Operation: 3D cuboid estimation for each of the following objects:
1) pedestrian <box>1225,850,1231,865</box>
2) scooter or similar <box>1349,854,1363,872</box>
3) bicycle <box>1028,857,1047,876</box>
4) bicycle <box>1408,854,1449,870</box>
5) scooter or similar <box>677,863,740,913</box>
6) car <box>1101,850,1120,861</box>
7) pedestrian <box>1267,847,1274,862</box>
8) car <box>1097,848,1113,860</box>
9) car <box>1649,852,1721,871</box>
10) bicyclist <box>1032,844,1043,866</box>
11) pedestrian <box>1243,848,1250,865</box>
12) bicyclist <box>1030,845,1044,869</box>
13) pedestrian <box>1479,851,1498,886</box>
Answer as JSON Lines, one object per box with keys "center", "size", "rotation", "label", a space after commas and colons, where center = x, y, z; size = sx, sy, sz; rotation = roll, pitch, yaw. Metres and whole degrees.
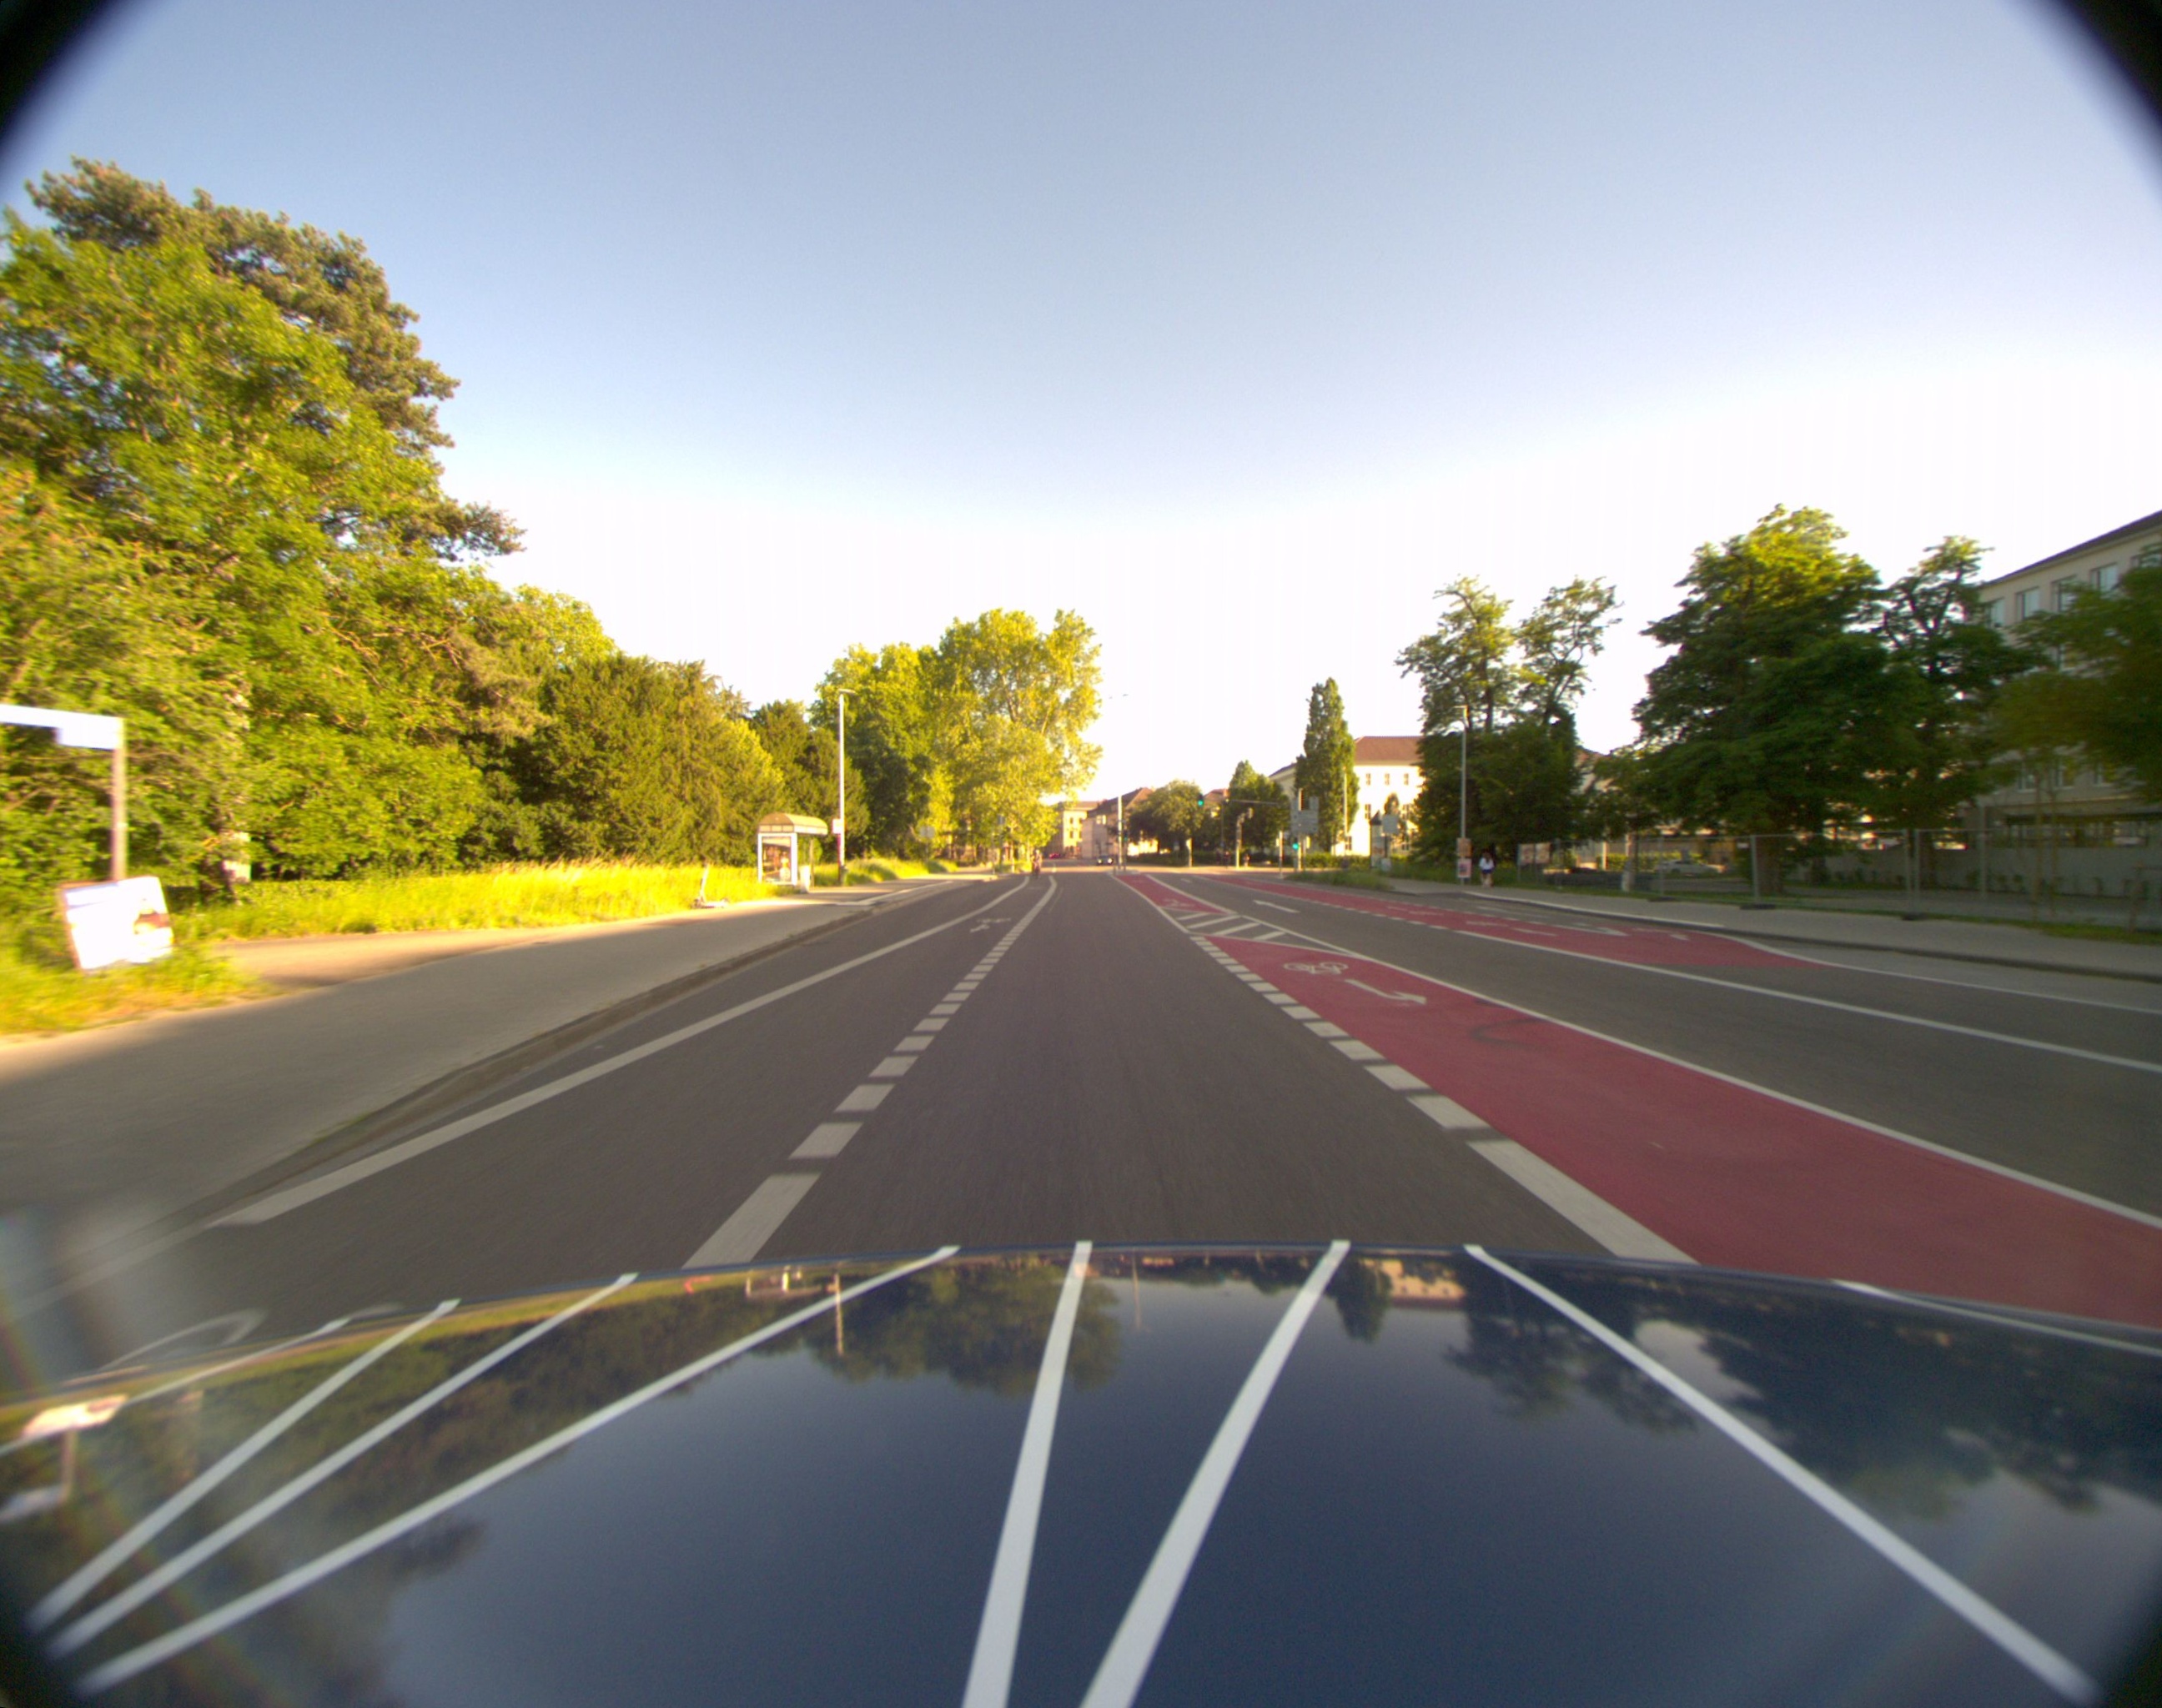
{"center": [16.446, 0.392, 84.967], "size": [0.691, 1.672, 0.681], "rotation": [0, 1, 7], "label": "pedestrian"}
{"center": [19.621, 0.650, 54.213], "size": [0.693, 1.286, 1.499], "rotation": [1, 1, 28], "label": "scooter or similar"}
{"center": [-2.675, 0.770, 46.543], "size": [0.694, 1.089, 2.137], "rotation": [0, 1, 9], "label": "bicycle"}
{"center": [25.760, 0.603, 56.357], "size": [2.576, 1.129, 0.980], "rotation": [0, 1, 3], "label": "bicycle"}
{"center": [-9.782, 0.875, 19.984], "size": [0.722, 1.240, 1.330], "rotation": [0, 1, 22], "label": "scooter or similar"}
{"center": [4.972, 0.264, 128.704], "size": [1.718, 1.413, 4.545], "rotation": [7, 1, -16], "label": "car"}
{"center": [22.501, 0.063, 90.070], "size": [0.691, 1.805, 0.681], "rotation": [0, 1, 7], "label": "pedestrian"}
{"center": [2.988, -0.045, 95.732], "size": [1.722, 1.409, 4.525], "rotation": [0, 0, -2], "label": "car"}
{"center": [50.663, 0.636, 63.776], "size": [4.253, 1.530, 2.070], "rotation": [0, 1, 7], "label": "car"}
{"center": [-2.958, 0.044, 51.762], "size": [0.695, 1.493, 0.892], "rotation": [0, 1, -5], "label": "bicyclist"}
{"center": [18.159, 0.258, 83.336], "size": [0.744, 1.805, 0.727], "rotation": [0, 1, 7], "label": "pedestrian"}
{"center": [-2.675, 0.180, 46.541], "size": [0.694, 1.482, 0.801], "rotation": [0, 1, 9], "label": "bicyclist"}
{"center": [17.812, 0.633, 33.207], "size": [0.452, 1.525, 0.571], "rotation": [0, 1, -5], "label": "pedestrian"}
